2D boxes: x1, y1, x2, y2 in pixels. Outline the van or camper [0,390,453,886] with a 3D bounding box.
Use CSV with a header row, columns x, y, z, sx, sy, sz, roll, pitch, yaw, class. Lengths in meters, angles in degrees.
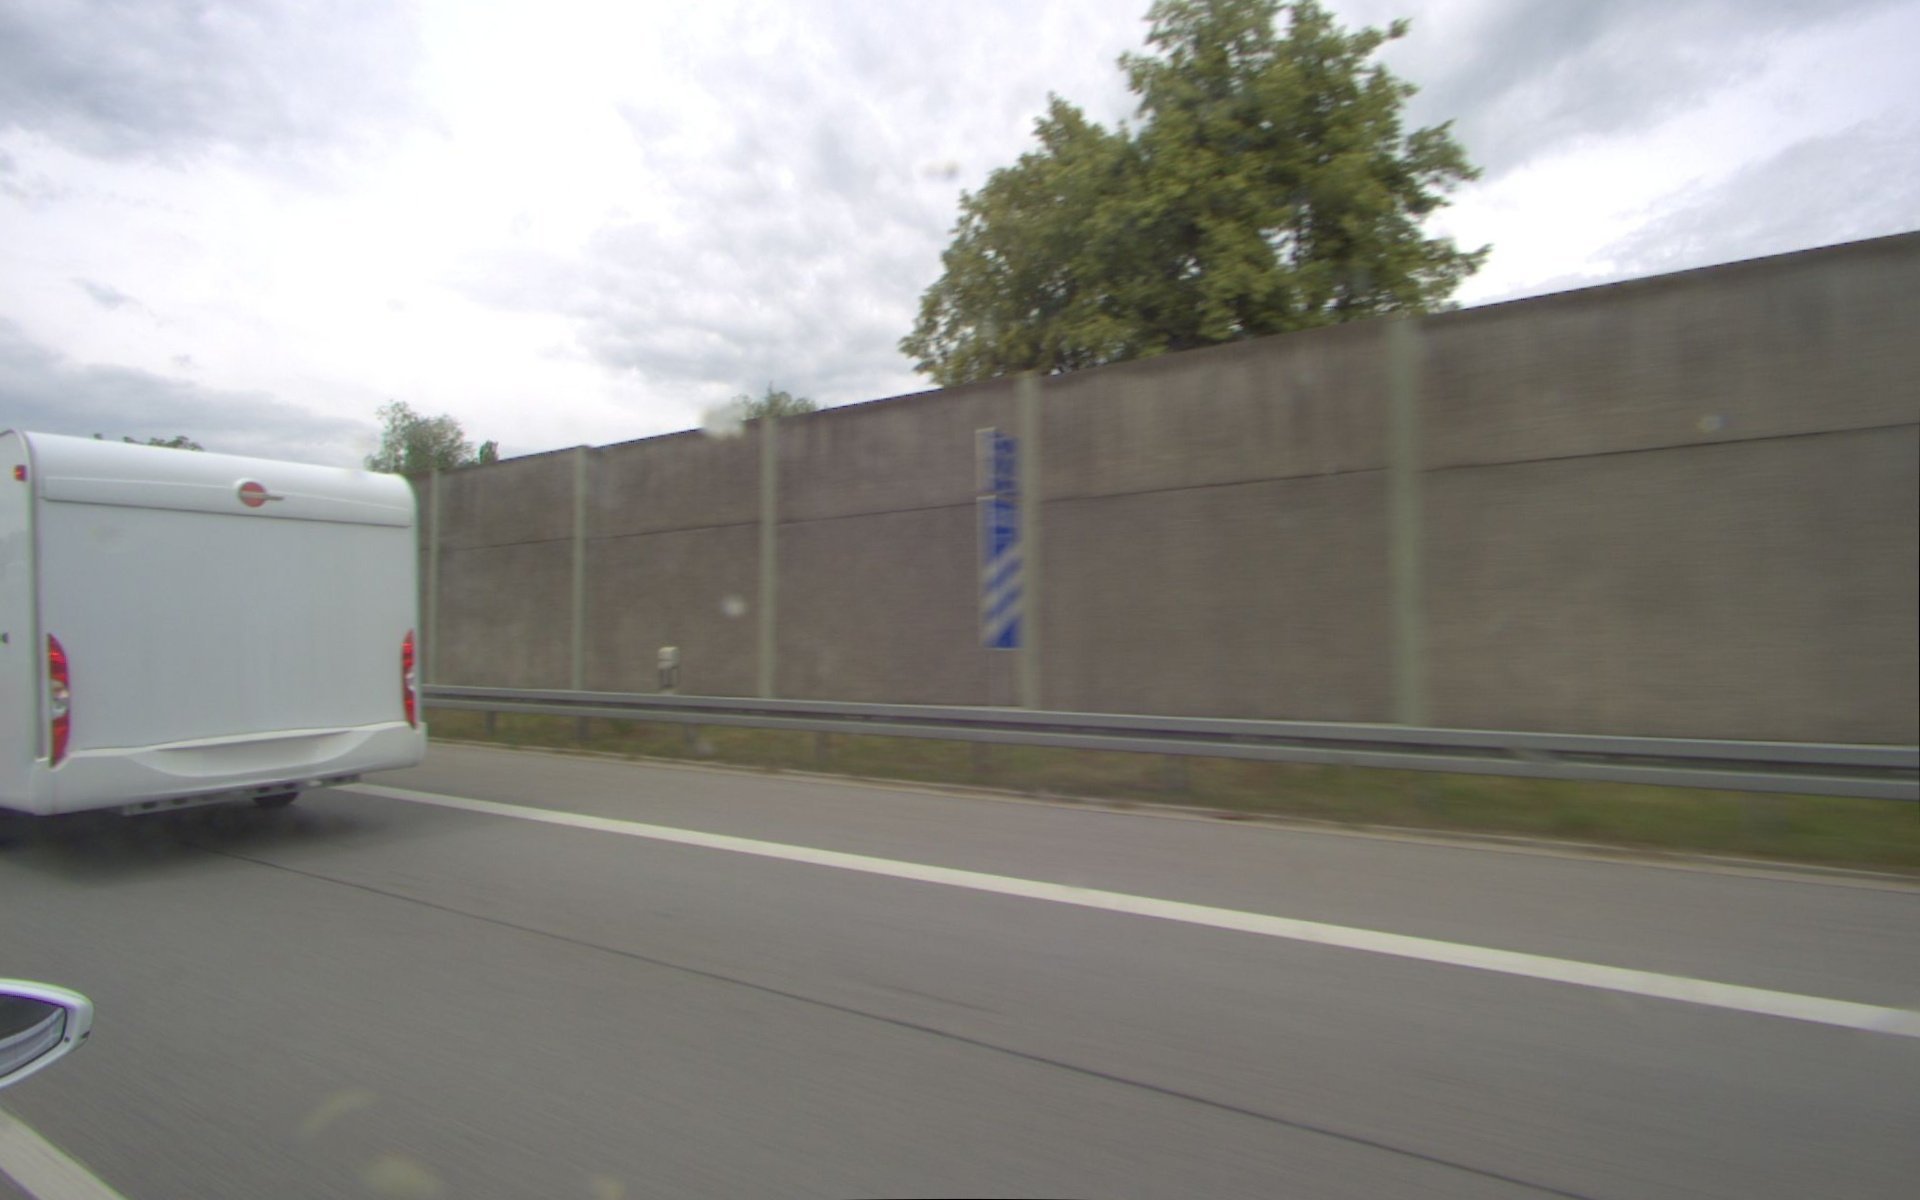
x,y,z,sx,sy,sz,roll,pitch,yaw,class
-7.494,0.315,8.449,7.122,2.731,2.425,-1,-2,32,van or camper
